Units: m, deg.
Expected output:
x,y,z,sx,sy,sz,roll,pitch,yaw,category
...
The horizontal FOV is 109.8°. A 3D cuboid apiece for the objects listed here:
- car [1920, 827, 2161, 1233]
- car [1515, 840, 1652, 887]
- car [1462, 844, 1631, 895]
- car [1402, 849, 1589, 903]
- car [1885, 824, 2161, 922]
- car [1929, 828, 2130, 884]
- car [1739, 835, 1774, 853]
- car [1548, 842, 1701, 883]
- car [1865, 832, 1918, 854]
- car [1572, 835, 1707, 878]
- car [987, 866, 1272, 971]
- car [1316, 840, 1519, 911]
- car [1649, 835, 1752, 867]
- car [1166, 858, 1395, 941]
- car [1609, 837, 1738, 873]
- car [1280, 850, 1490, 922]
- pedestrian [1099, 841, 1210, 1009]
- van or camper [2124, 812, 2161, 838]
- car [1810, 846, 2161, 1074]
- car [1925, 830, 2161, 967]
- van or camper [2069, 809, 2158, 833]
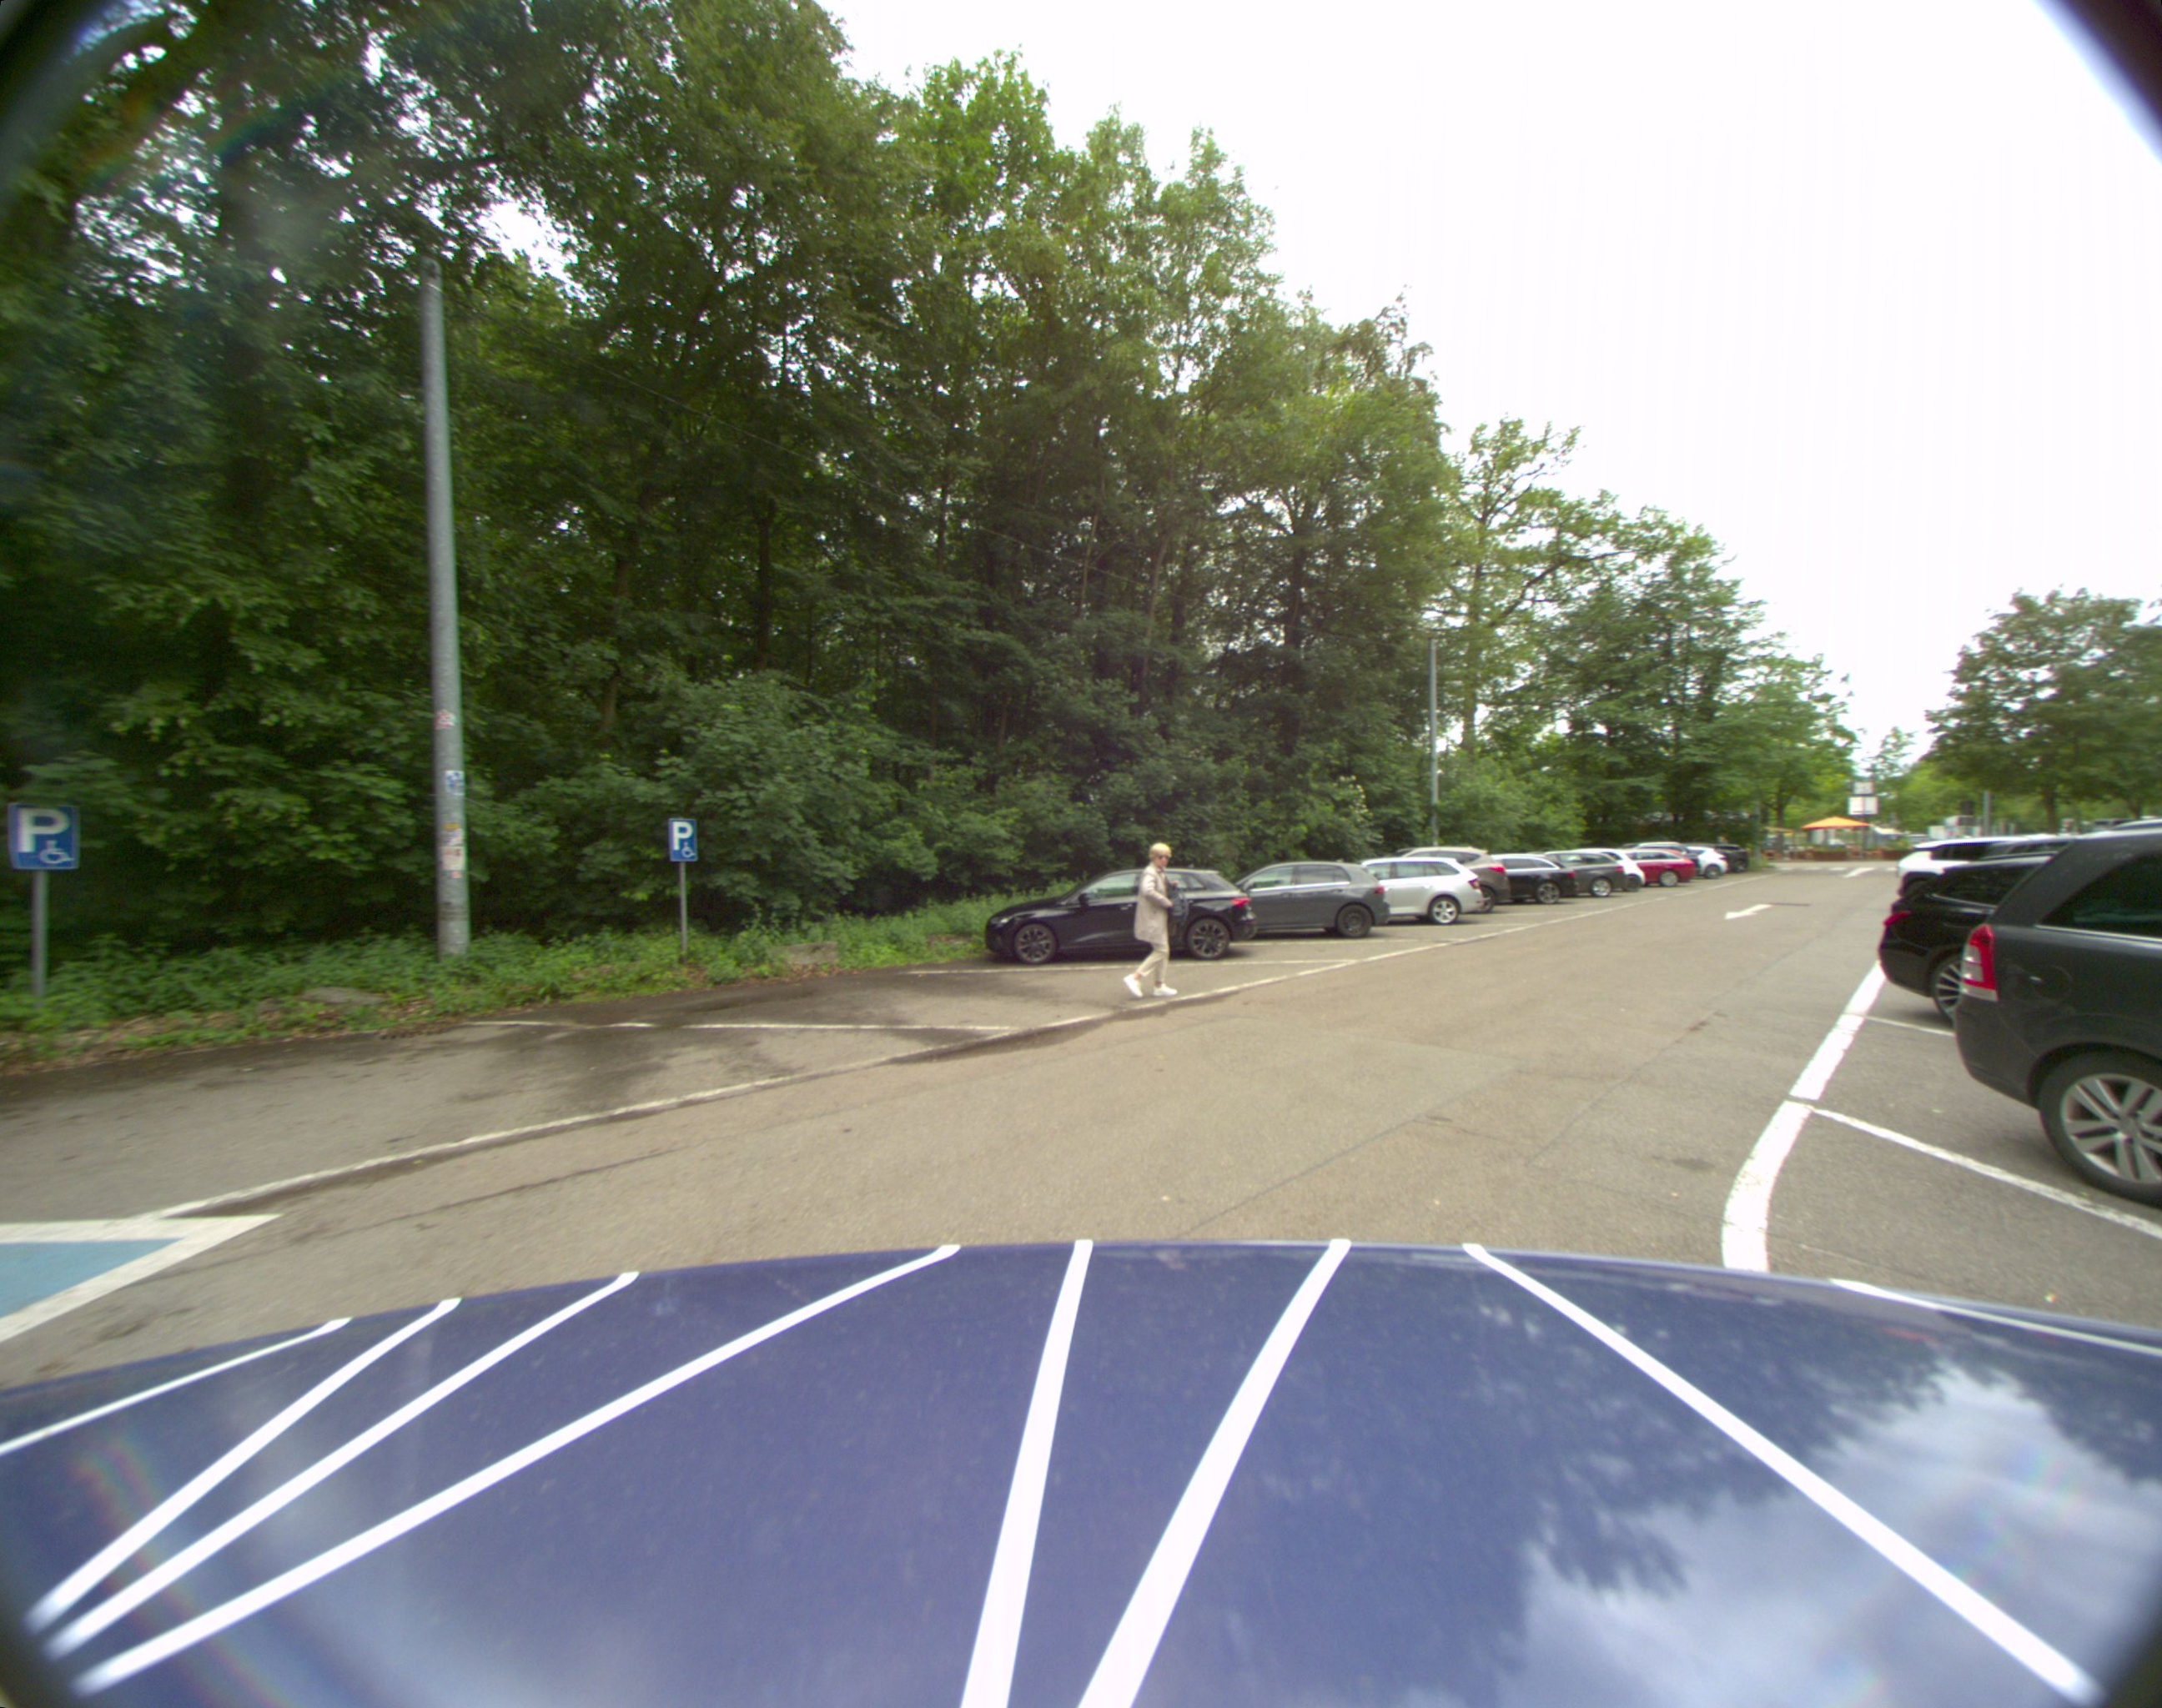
x,y,z,sx,sy,sz,roll,pitch,yaw,category
5.090,0.670,1.635,1.828,1.599,4.389,-2,0,3,car
17.394,0.326,26.445,3.578,1.496,1.736,-1,0,6,car
14.599,0.466,24.013,4.182,1.449,1.805,-1,0,4,car
11.693,0.591,21.674,4.259,1.369,1.966,-1,0,2,car
18.331,0.291,14.378,1.845,1.587,4.190,-1,0,2,car
29.085,0.050,23.497,1.685,1.576,3.654,-1,0,1,car
63.373,-0.932,71.351,1.994,1.543,4.008,-1,0,35,car
20.495,0.313,28.816,4.290,1.405,1.929,-2,0,8,car
65.001,-0.853,61.035,1.931,1.660,4.353,-1,0,33,car
22.987,0.097,31.418,4.114,1.608,1.843,-2,0,7,car
0.776,0.990,12.281,4.200,1.454,1.900,-2,0,5,car
8.365,0.524,19.238,4.258,1.627,1.966,-1,0,4,car
31.590,-0.127,38.839,3.788,1.483,1.700,-2,0,3,car
3.715,0.833,14.768,3.996,1.414,1.911,-2,0,4,car
26.114,0.038,33.605,4.114,1.430,1.871,-2,0,7,car
6.600,0.684,16.907,3.994,1.458,1.836,-1,0,8,car
0.811,0.731,8.385,0.898,1.715,0.762,-2,0,-40,pedestrian
121.976,-3.304,84.705,7.329,2.833,2.070,-2,1,9,van or camper
7.832,0.675,5.149,1.758,1.435,4.279,-2,0,2,car
13.433,0.501,9.325,1.845,1.577,3.978,-1,0,4,car
138.061,-4.349,101.634,7.327,2.833,2.206,-2,1,14,van or camper
